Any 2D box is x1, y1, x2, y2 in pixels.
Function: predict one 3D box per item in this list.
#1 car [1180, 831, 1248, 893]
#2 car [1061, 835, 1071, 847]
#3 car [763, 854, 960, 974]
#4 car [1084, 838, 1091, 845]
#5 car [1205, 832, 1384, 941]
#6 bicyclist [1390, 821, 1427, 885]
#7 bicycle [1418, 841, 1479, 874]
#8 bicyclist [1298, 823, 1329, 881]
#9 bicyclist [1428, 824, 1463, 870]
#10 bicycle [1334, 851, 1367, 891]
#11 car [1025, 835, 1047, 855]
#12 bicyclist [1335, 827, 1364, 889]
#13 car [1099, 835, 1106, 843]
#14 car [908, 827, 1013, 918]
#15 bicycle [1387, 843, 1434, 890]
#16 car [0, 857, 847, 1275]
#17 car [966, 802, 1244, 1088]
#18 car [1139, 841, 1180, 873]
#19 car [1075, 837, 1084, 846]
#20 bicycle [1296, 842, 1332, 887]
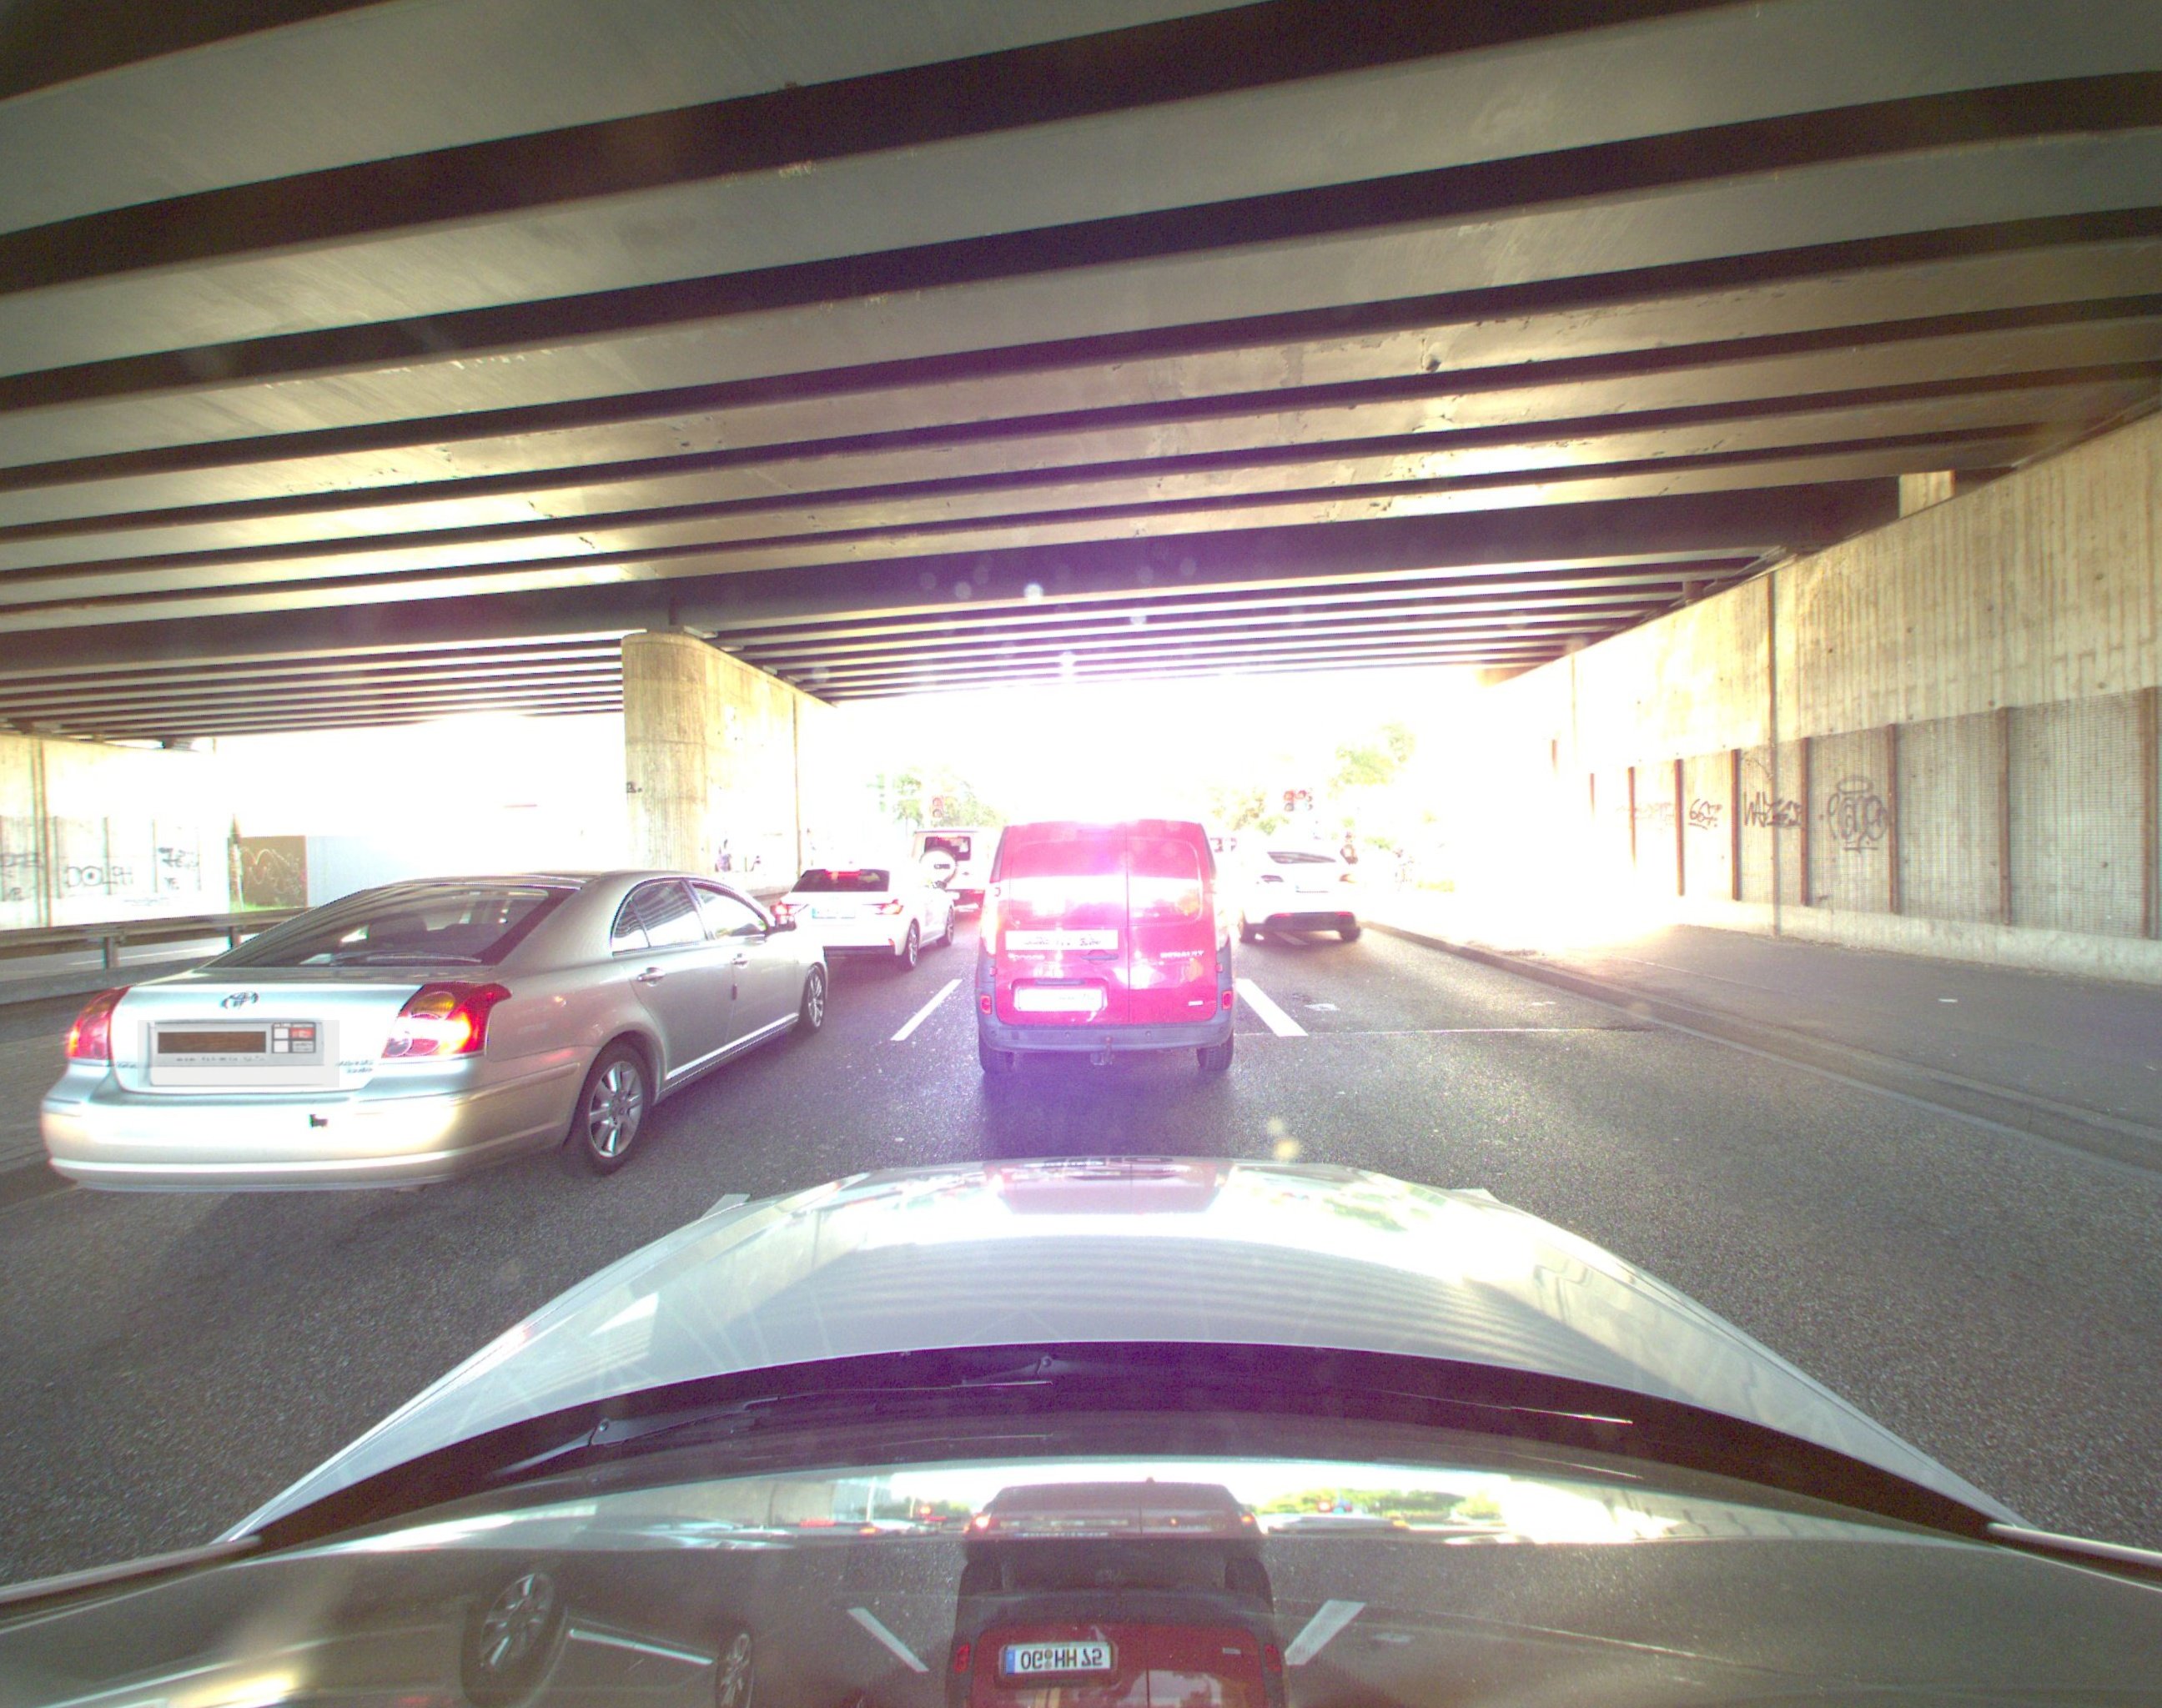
[{"bbox_3d":[4.265,0.217,26.729,1.888,1.836,4.843,0,0,5],"label":"car"},{"bbox_3d":[-2.716,-2.384,148.922,1.741,2.014,3.846,0,0,2],"label":"car"},{"bbox_3d":[-2.926,0.725,11.709,1.686,1.410,3.815,0,0,2],"label":"car"},{"bbox_3d":[1.946,-3.542,235.093,1.922,2.014,3.915,0,0,2],"label":"car"},{"bbox_3d":[3.486,0.519,14.238,1.987,1.551,4.420,-2,-1,1],"label":"car"},{"bbox_3d":[8.278,-0.020,20.605,0.666,1.561,0.736,-2,-1,7],"label":"bicyclist"},{"bbox_3d":[13.646,0.119,30.221,2.476,1.146,0.760,-1,0,-30],"label":"bicycle"},{"bbox_3d":[6.233,-0.053,21.830,0.647,1.534,0.852,-1,0,24],"label":"bicyclist"},{"bbox_3d":[13.490,-0.265,30.145,0.889,1.655,0.742,-1,-1,-29],"label":"bicyclist"},{"bbox_3d":[7.128,0.431,21.607,0.672,1.024,1.534,0,0,12],"label":"bicycle"},{"bbox_3d":[-4.642,-0.933,84.949,1.986,2.014,4.001,0,0,2],"label":"car"},{"bbox_3d":[7.128,0.112,21.626,0.673,1.629,0.646,0,-1,12],"label":"bicyclist"},{"bbox_3d":[5.868,-4.034,220.885,1.986,2.014,4.001,0,0,2],"label":"car"},{"bbox_3d":[-2.695,0.378,19.034,1.807,1.904,3.814,0,0,1],"label":"car"},{"bbox_3d":[8.280,0.312,20.537,0.677,1.113,1.607,-2,-1,7],"label":"bicycle"},{"bbox_3d":[-2.996,0.768,5.117,1.690,1.455,4.399,0,0,1],"label":"car"},{"bbox_3d":[0.213,0.562,7.063,1.712,1.764,4.002,0,0,2],"label":"car"},{"bbox_3d":[3.671,0.136,38.563,1.739,1.456,3.718,0,0,2],"label":"car"},{"bbox_3d":[-0.403,-2.789,188.709,1.986,2.014,4.001,0,0,2],"label":"car"},{"bbox_3d":[6.259,0.264,21.852,0.645,1.167,1.788,-1,0,25],"label":"bicycle"}]
